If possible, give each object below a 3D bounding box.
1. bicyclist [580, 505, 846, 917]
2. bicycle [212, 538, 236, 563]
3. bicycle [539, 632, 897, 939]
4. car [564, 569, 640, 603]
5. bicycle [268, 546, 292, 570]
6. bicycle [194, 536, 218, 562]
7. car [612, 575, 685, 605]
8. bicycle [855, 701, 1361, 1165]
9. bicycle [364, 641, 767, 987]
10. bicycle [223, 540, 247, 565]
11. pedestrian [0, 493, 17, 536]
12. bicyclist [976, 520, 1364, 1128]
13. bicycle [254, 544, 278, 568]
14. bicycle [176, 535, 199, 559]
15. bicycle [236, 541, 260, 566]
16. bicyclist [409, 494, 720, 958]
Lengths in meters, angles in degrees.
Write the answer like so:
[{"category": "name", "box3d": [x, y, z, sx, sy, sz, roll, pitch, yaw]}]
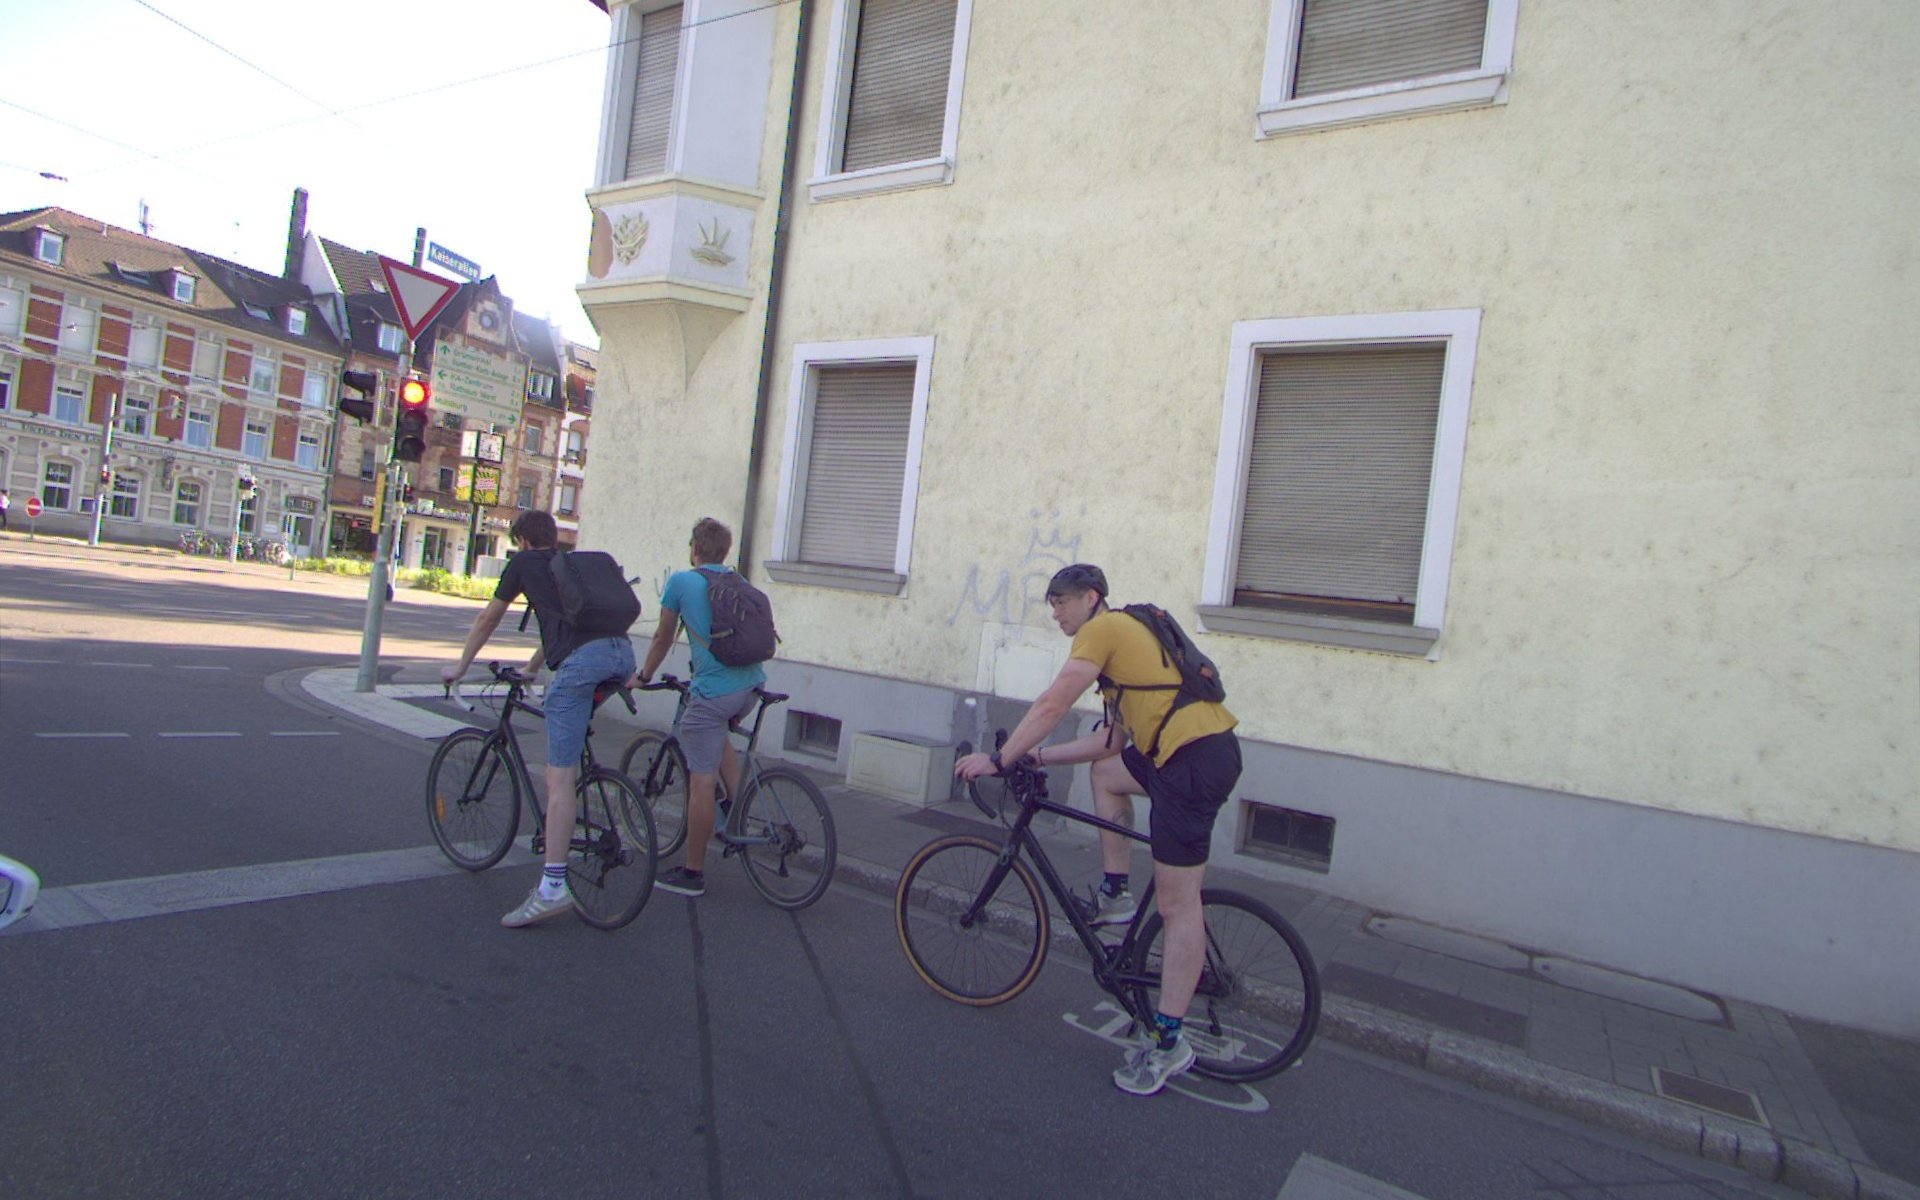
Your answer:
[{"category": "bicyclist", "box3d": [-1.293, 0.527, 5.275, 0.978, 1.910, 0.652, 7, 0, 32]}, {"category": "bicycle", "box3d": [-34.198, -2.293, 46.750, 1.759, 1.033, 0.485, 7, 0, 42]}, {"category": "bicycle", "box3d": [-1.316, 0.880, 5.285, 1.858, 1.180, 0.571, 7, 0, 32]}, {"category": "car", "box3d": [-23.155, -0.882, 65.217, 1.966, 1.641, 4.261, 7, -1, 29]}, {"category": "bicycle", "box3d": [-33.101, -2.059, 48.981, 1.759, 1.033, 0.485, 7, 0, 42]}, {"category": "bicycle", "box3d": [-34.649, -2.342, 46.204, 1.759, 1.033, 0.485, 7, 0, 42]}, {"category": "car", "box3d": [-19.209, -0.583, 62.143, 1.694, 1.316, 4.066, 7, -1, 32]}, {"category": "bicycle", "box3d": [0.506, 1.093, 3.777, 1.670, 1.180, 0.571, 7, 0, 32]}, {"category": "bicycle", "box3d": [-1.806, 0.838, 4.472, 1.858, 1.071, 0.571, 7, 0, 32]}, {"category": "bicycle", "box3d": [-34.011, -2.252, 47.173, 1.759, 1.033, 0.485, 7, 0, 42]}, {"category": "pedestrian", "box3d": [-40.596, -3.668, 42.405, 0.620, 1.731, 1.035, 6, -1, 40]}, {"category": "bicyclist", "box3d": [0.765, 0.699, 3.661, 1.019, 1.839, 0.652, 7, 0, 32]}, {"category": "bicycle", "box3d": [-33.320, -2.116, 48.293, 1.759, 1.033, 0.485, 7, 0, 42]}, {"category": "bicycle", "box3d": [-35.074, -2.415, 45.668, 1.759, 0.925, 0.485, 7, 0, 42]}, {"category": "bicycle", "box3d": [-33.683, -2.193, 47.565, 1.759, 1.033, 0.485, 7, 0, 42]}, {"category": "bicyclist", "box3d": [-1.757, 0.494, 4.474, 0.978, 1.788, 0.652, 7, 0, 32]}]
